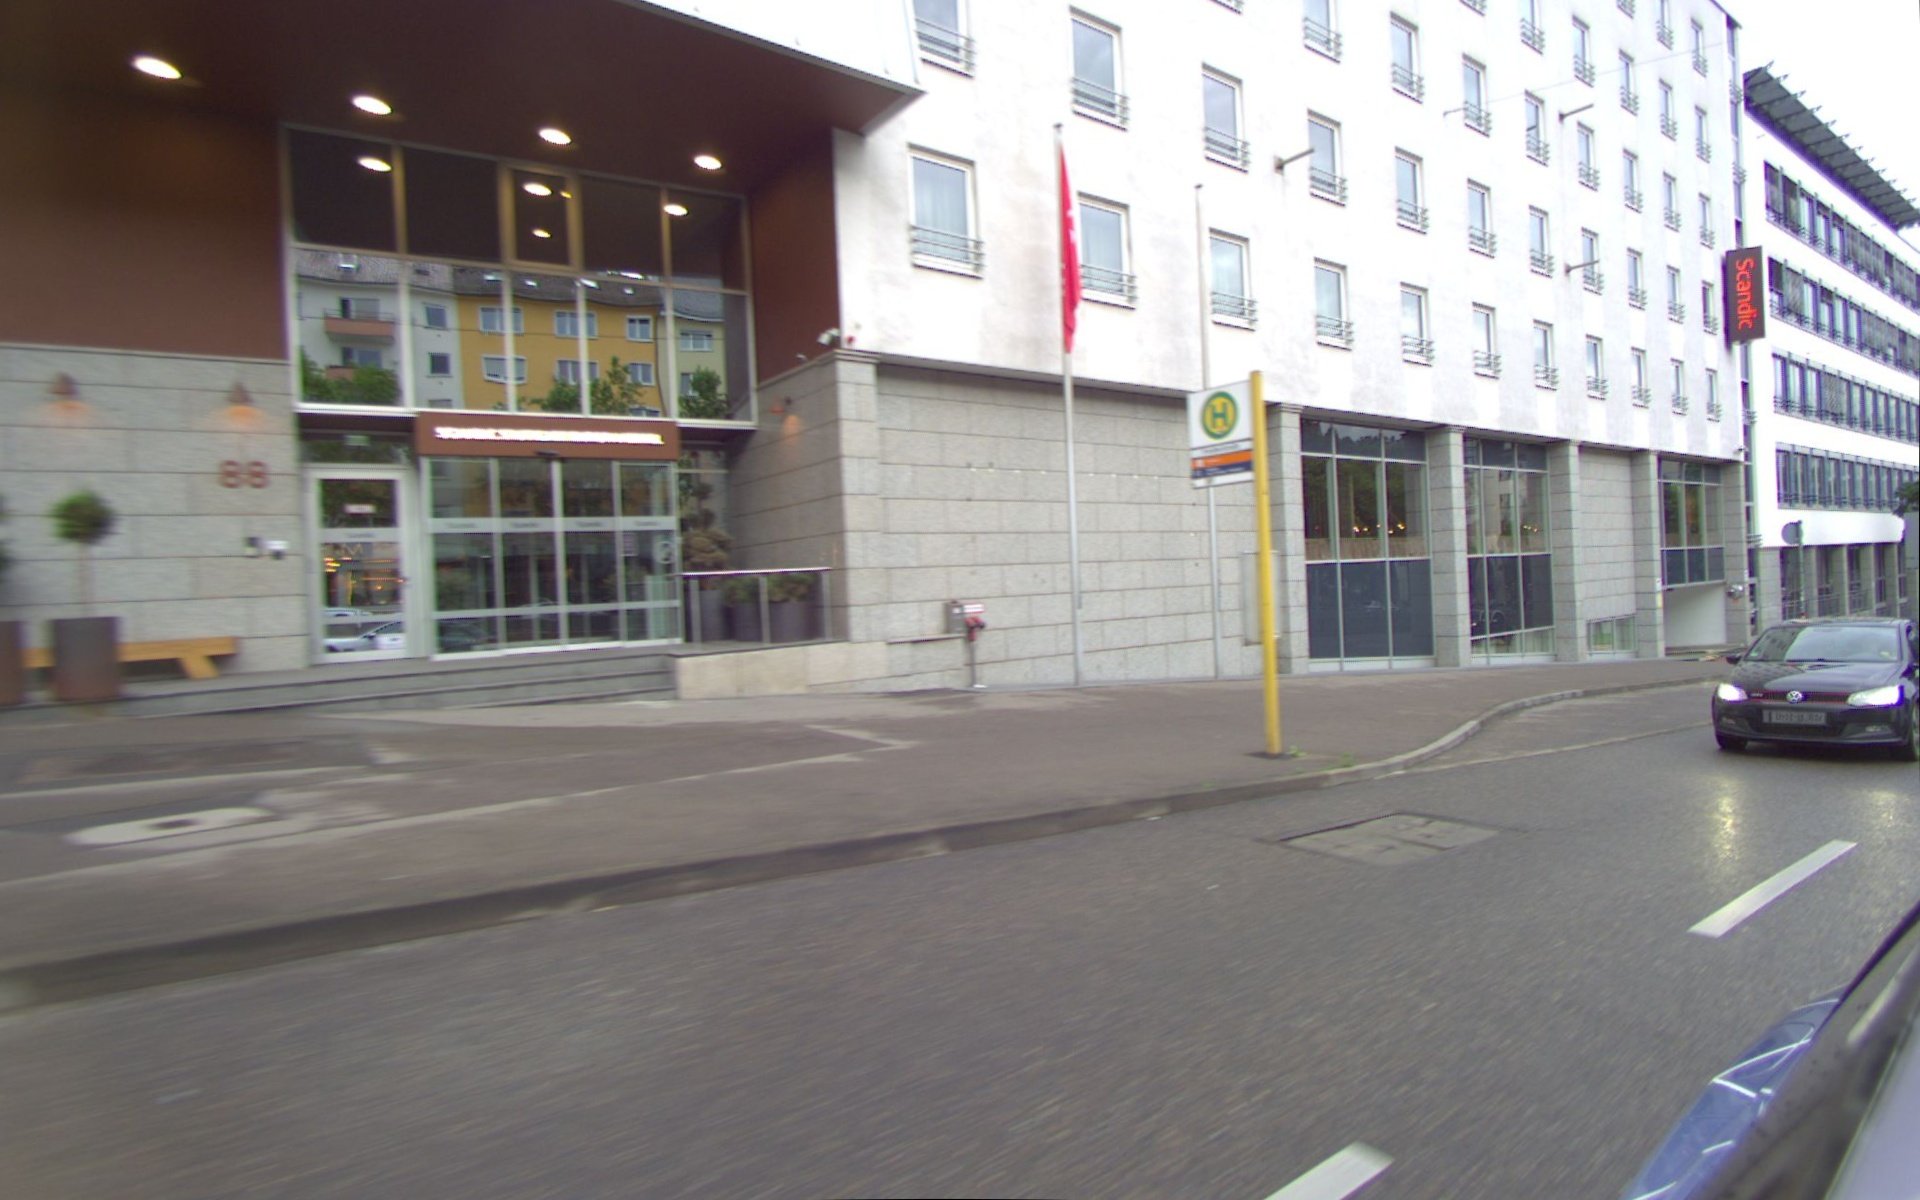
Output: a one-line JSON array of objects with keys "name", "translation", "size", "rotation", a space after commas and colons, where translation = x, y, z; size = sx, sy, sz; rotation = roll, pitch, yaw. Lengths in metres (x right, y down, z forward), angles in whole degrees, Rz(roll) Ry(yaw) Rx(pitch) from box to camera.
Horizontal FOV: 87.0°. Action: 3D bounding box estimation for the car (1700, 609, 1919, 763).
[{"name": "car", "translation": [9.916, 0.836, 11.267], "size": [3.778, 1.418, 1.677], "rotation": [0, -2, -38]}]
